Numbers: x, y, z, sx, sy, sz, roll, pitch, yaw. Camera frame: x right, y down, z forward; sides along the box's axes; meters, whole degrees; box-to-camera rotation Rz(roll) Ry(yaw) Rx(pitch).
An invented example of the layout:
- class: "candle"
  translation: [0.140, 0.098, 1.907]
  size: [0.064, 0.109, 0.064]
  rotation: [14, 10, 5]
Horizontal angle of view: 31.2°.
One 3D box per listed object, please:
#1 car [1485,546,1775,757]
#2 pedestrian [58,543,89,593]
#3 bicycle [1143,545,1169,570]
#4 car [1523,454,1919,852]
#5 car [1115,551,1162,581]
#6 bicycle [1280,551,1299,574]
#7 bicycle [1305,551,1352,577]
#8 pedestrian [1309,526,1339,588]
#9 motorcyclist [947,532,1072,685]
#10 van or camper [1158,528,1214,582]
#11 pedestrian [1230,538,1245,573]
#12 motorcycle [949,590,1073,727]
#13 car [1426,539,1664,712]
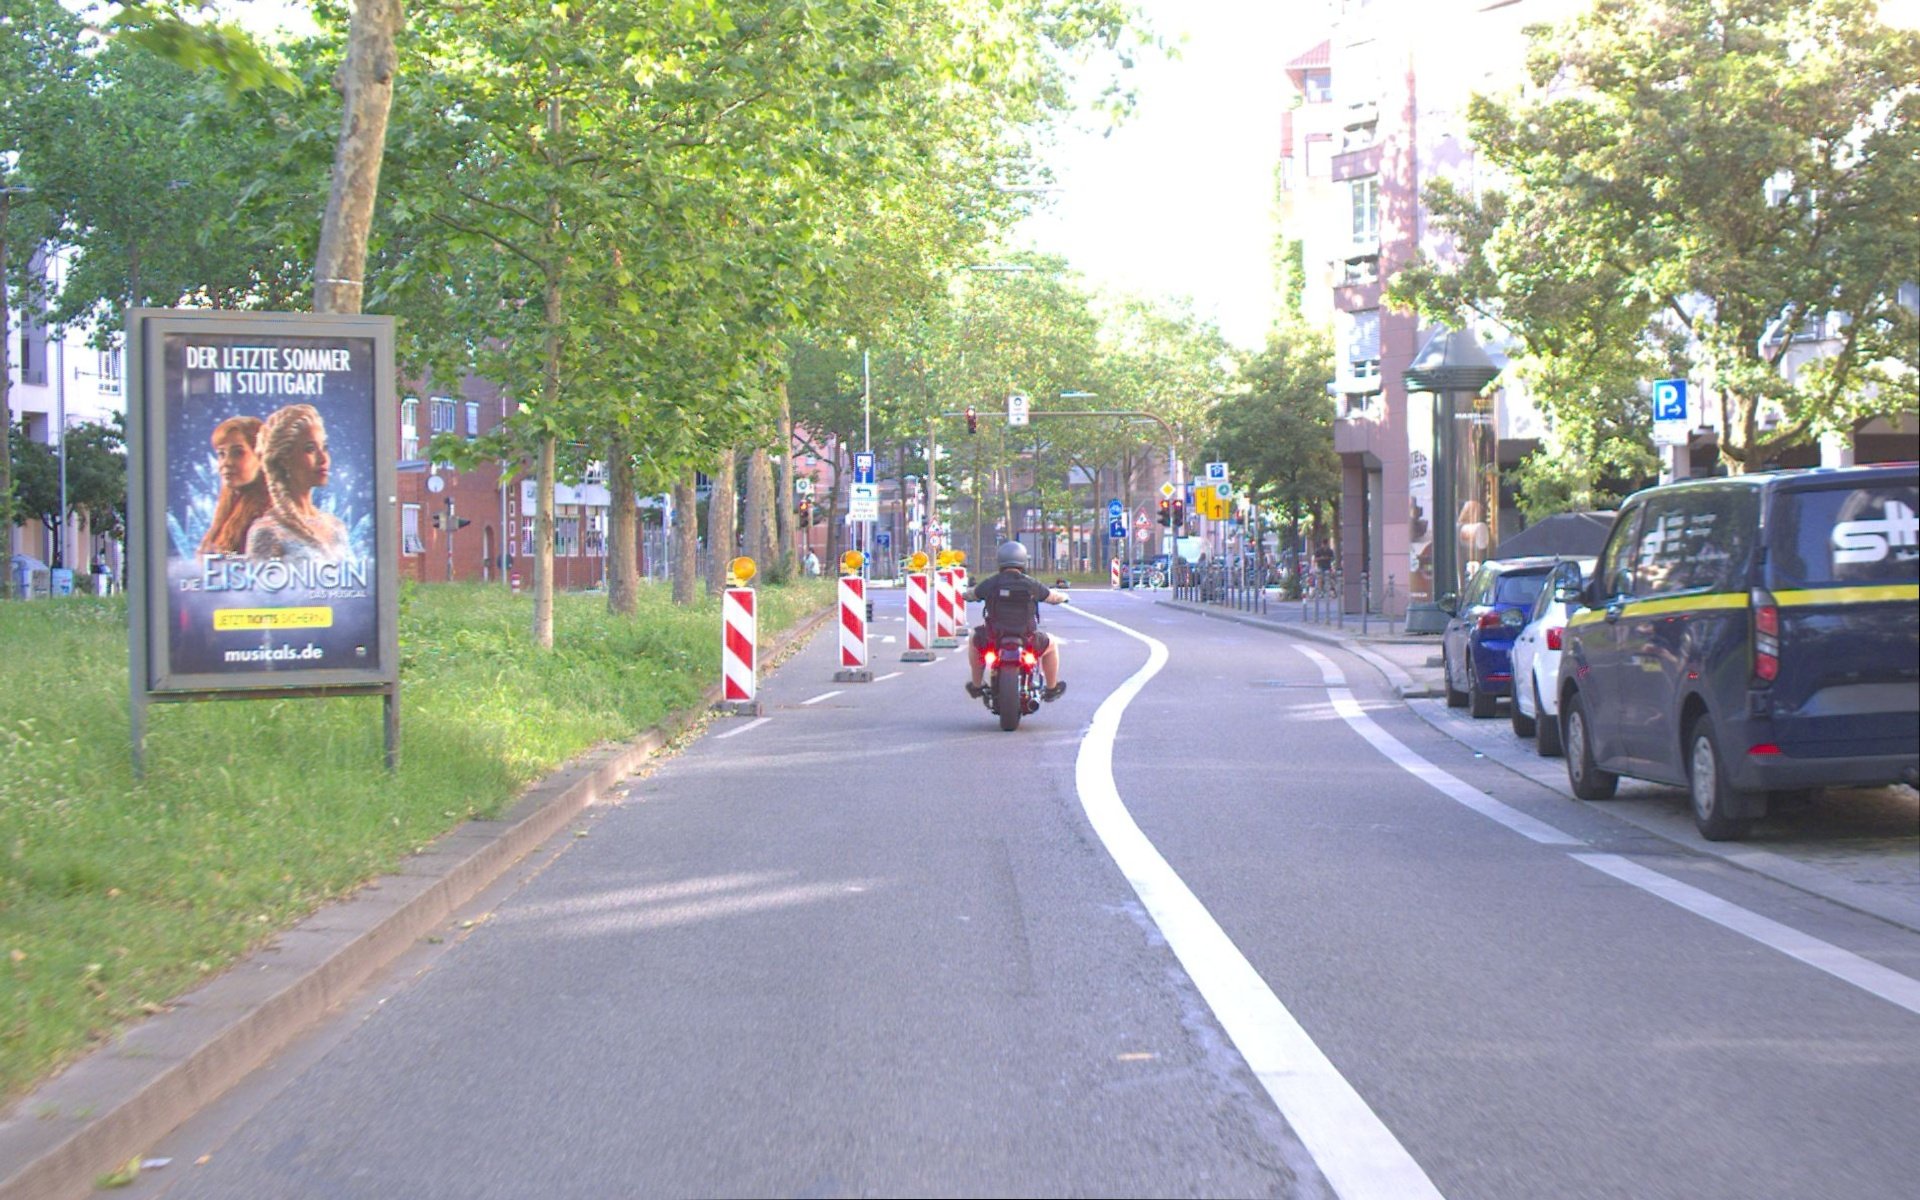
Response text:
- class: "car"
  translation: [5.153, 0.342, 26.918]
  size: [1.702, 1.460, 4.175]
  rotation: [-1, 1, 4]
- class: "pedestrian"
  translation: [-29.416, -1.070, 114.098]
  size: [0.707, 1.633, 0.788]
  rotation: [0, 1, 11]
- class: "bicycle"
  translation: [8.176, -1.780, 143.334]
  size: [0.737, 1.049, 1.753]
  rotation: [-1, 1, -9]
- class: "car"
  translation: [4.750, 0.188, 19.649]
  size: [2.037, 1.936, 5.198]
  rotation: [-2, 1, -1]
- class: "car"
  translation: [7.835, -1.494, 150.585]
  size: [1.621, 1.298, 4.310]
  rotation: [0, 1, 9]
- class: "bicycle"
  translation: [13.653, -1.563, 142.506]
  size: [0.737, 0.936, 1.752]
  rotation: [0, 1, 5]
- class: "bicycle"
  translation: [14.718, -1.430, 137.296]
  size: [1.749, 1.049, 0.738]
  rotation: [0, 1, 28]
- class: "pedestrian"
  translation: [10.274, -1.224, 97.000]
  size: [0.781, 1.732, 0.836]
  rotation: [0, 1, 9]
- class: "motorcyclist"
  translation: [0.426, 0.063, 29.346]
  size: [1.012, 1.258, 0.774]
  rotation: [2, 1, 1]
- class: "van or camper"
  translation: [10.976, -2.178, 166.843]
  size: [2.049, 2.532, 5.770]
  rotation: [0, 1, 10]
- class: "pedestrian"
  translation: [12.549, -2.019, 155.423]
  size: [0.644, 1.573, 0.748]
  rotation: [0, 1, 4]
- class: "motorcycle"
  translation: [0.431, 0.480, 29.265]
  size: [1.018, 1.093, 2.007]
  rotation: [0, 1, 1]
- class: "car"
  translation: [5.453, 0.190, 32.497]
  size: [1.702, 1.478, 4.248]
  rotation: [-1, 1, 3]
